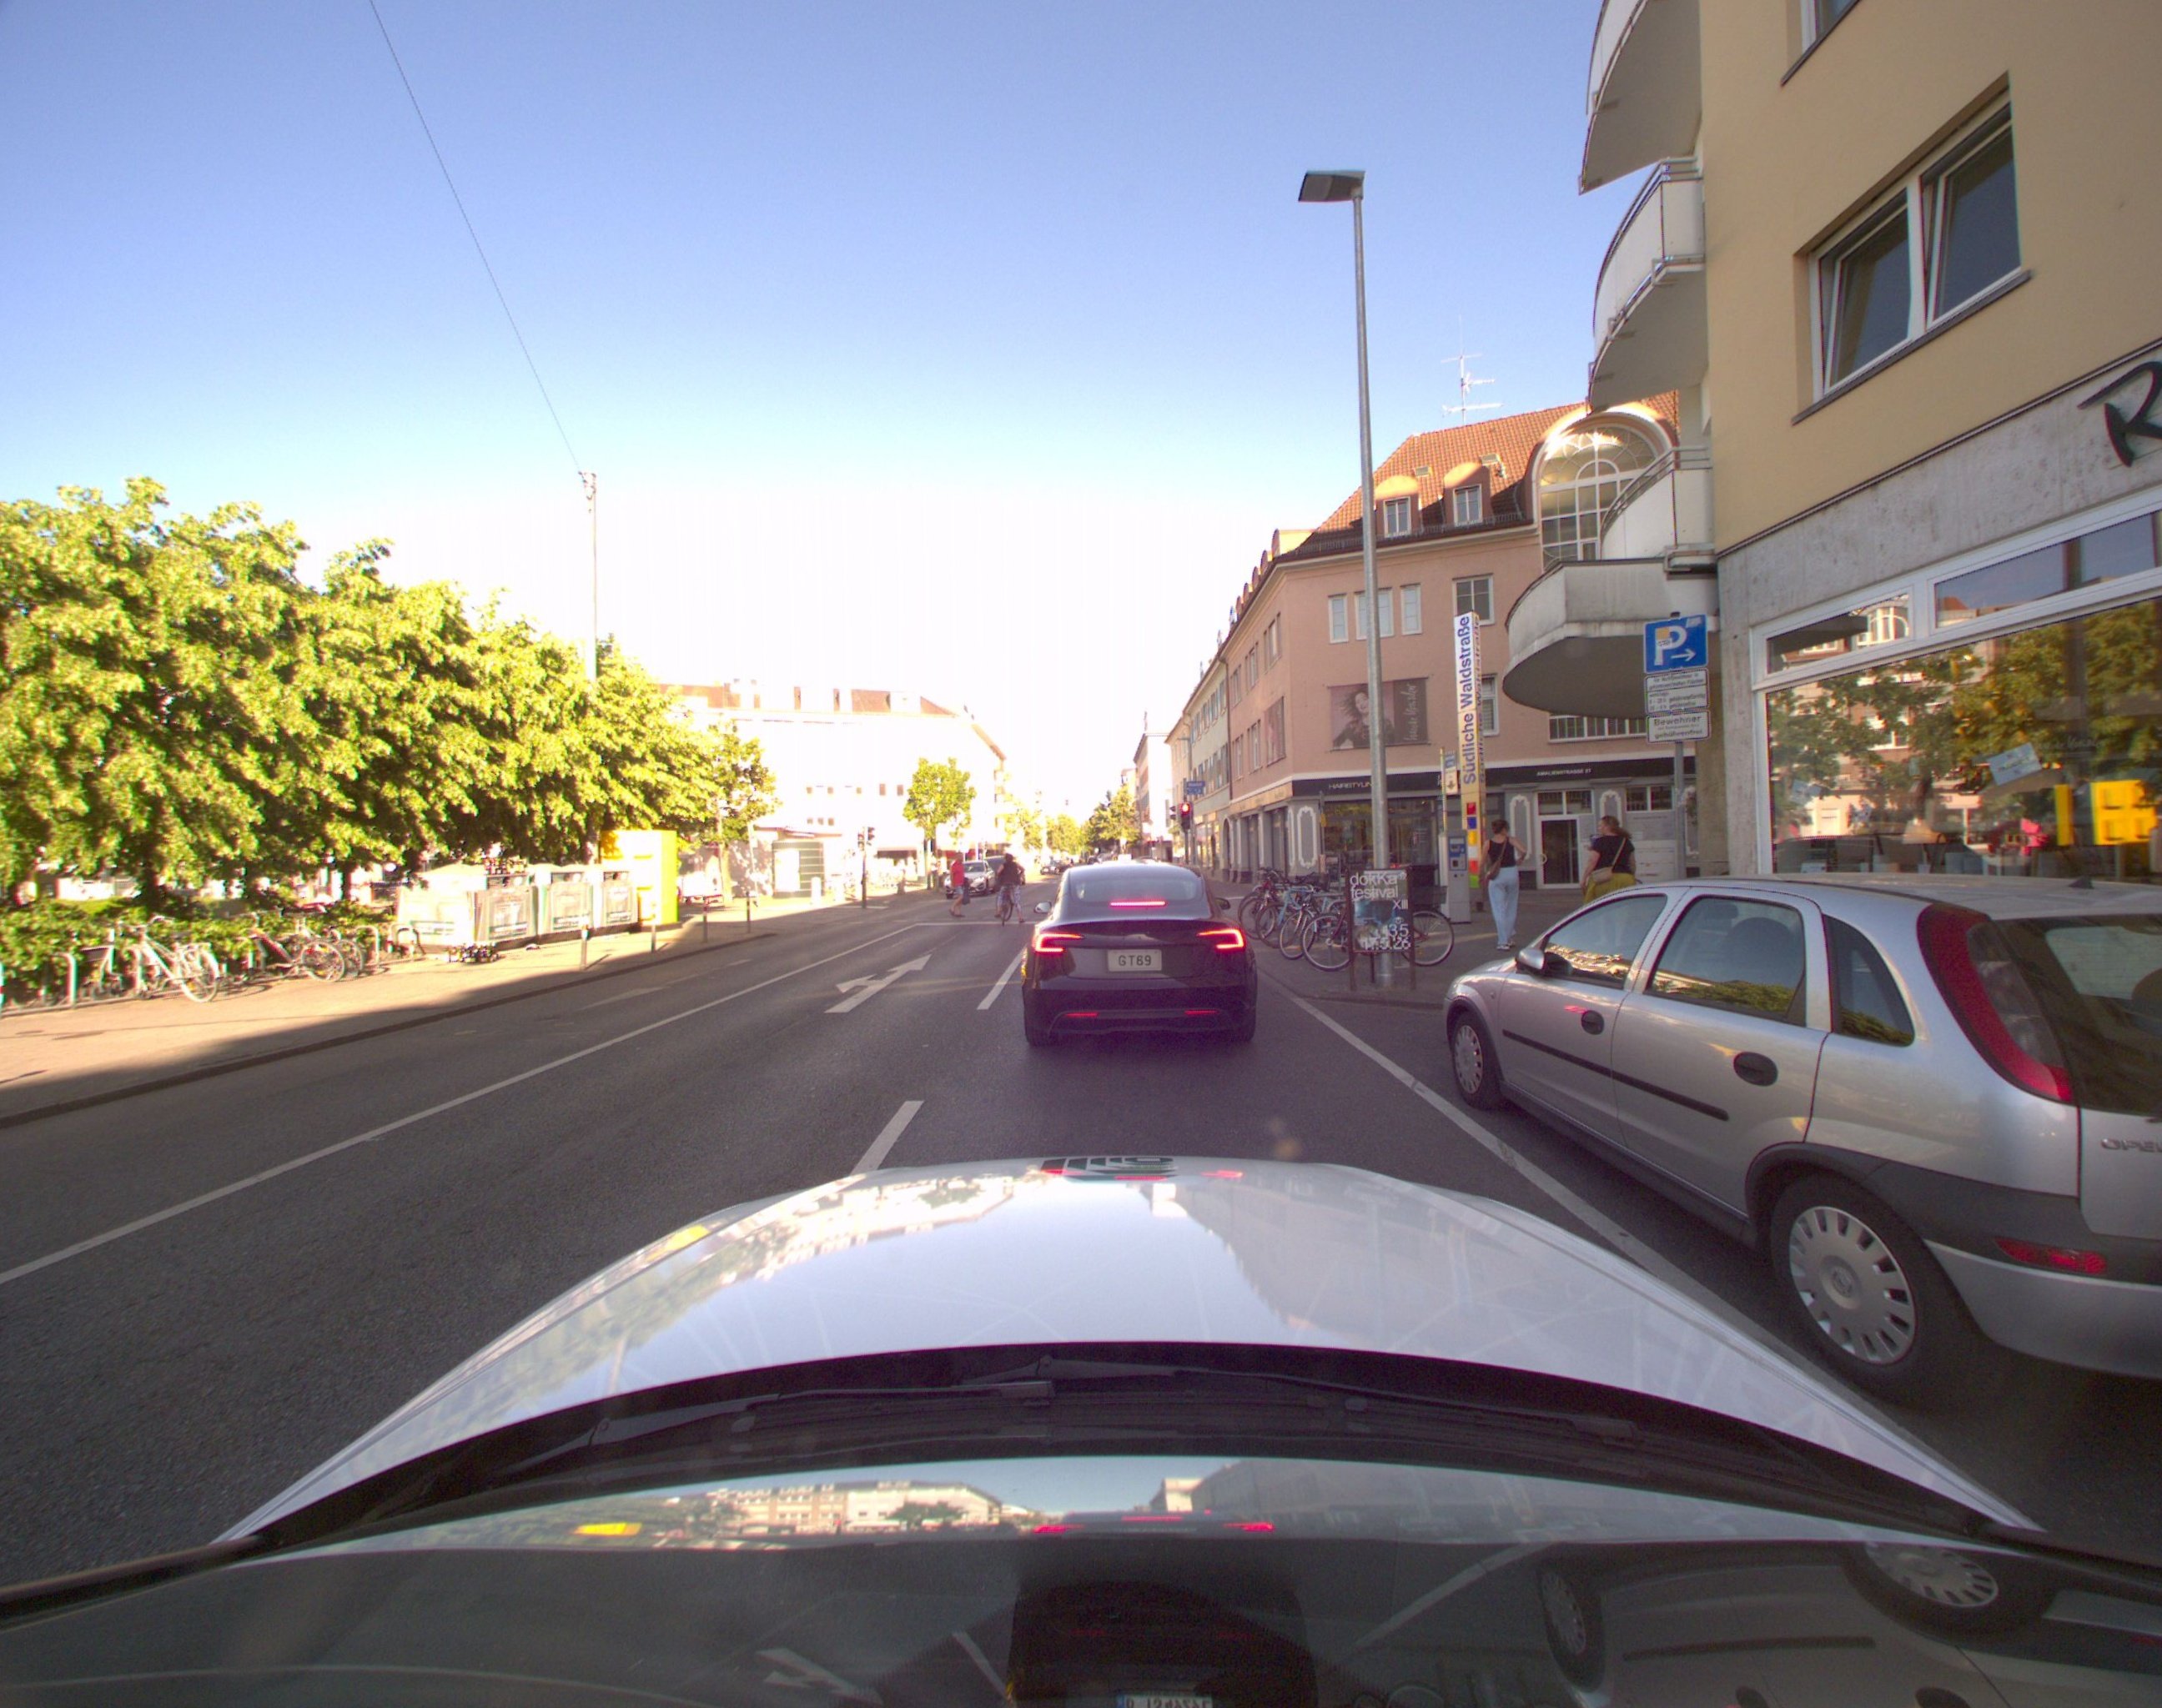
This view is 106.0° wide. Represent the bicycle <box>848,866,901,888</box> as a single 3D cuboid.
[{"bbox_3d":[-12.147,1.363,47.988,2.867,1.270,0.942,0,-1,-1],"label":"bicycle"}]

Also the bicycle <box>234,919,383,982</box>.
[{"bbox_3d":[-11.453,1.424,12.106,1.663,0.859,0.469,0,-1,-5],"label":"bicycle"}]

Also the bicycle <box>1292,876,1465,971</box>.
[{"bbox_3d":[3.644,0.845,10.087,1.875,1.044,0.653,-2,0,3],"label":"bicycle"}]

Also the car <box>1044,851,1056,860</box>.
[{"bbox_3d":[-7.156,0.289,188.737,2.266,2.014,4.720,0,-1,3],"label":"car"}]

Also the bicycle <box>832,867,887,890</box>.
[{"bbox_3d":[-12.386,1.370,45.592,2.772,1.274,0.933,0,-1,-2],"label":"bicycle"}]

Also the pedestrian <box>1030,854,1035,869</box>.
[{"bbox_3d":[-6.208,0.977,104.229,0.693,1.868,0.658,0,-1,-3],"label":"pedestrian"}]

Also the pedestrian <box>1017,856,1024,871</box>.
[{"bbox_3d":[-7.257,1.134,97.251,0.734,1.868,0.787,0,-1,-15],"label":"pedestrian"}]

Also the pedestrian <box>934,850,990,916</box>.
[{"bbox_3d":[-3.172,0.761,21.761,1.100,1.719,1.067,-1,-1,19],"label":"pedestrian"}]

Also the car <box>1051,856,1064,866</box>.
[{"bbox_3d":[-4.851,1.321,166.813,2.405,1.970,4.679,-1,0,2],"label":"car"}]

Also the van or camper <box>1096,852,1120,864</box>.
[{"bbox_3d":[5.641,0.852,167.665,4.832,2.438,1.851,-1,0,1],"label":"van or camper"}]

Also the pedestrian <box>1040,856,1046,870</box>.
[{"bbox_3d":[-5.072,1.203,107.759,0.695,1.868,0.906,0,-1,-11],"label":"pedestrian"}]

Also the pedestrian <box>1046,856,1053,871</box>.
[{"bbox_3d":[-4.024,1.163,103.779,0.773,1.868,1.006,0,-1,-7],"label":"pedestrian"}]

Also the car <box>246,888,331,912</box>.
[{"bbox_3d":[-58.043,3.325,59.713,4.144,1.530,1.537,-1,0,-28],"label":"car"}]

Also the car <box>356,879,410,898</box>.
[{"bbox_3d":[-51.041,2.517,59.612,2.762,1.266,1.233,0,-1,-28],"label":"car"}]

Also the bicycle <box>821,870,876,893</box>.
[{"bbox_3d":[-12.317,1.437,43.249,2.652,1.195,0.942,0,-1,-1],"label":"bicycle"}]

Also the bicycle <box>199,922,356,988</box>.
[{"bbox_3d":[-11.418,1.422,11.607,1.667,0.859,0.469,0,-1,-5],"label":"bicycle"}]

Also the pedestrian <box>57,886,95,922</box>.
[{"bbox_3d":[-44.222,2.169,35.838,0.928,1.520,0.924,0,-1,-43],"label":"pedestrian"}]

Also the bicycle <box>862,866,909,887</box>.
[{"bbox_3d":[-12.046,1.386,50.306,2.655,1.259,0.942,0,-1,-1],"label":"bicycle"}]

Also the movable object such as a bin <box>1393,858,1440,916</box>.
[{"bbox_3d":[6.753,0.659,16.427,0.633,1.103,0.728,-4,-1,5],"label":"movable object such as a bin"}]

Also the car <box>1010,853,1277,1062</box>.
[{"bbox_3d":[0.504,0.738,7.887,1.843,1.447,4.453,0,0,2],"label":"car"}]

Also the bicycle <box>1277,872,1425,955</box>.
[{"bbox_3d":[3.664,0.797,11.160,1.806,1.060,0.653,-1,0,3],"label":"bicycle"}]

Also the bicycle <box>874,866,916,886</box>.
[{"bbox_3d":[-11.991,1.400,52.581,2.535,1.251,0.942,0,-1,-1],"label":"bicycle"}]

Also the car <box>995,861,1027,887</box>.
[{"bbox_3d":[-4.249,1.204,50.051,1.455,1.430,3.607,-5,-1,2],"label":"car"}]

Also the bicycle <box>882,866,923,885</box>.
[{"bbox_3d":[-12.045,1.420,55.008,2.535,1.251,0.942,0,-1,-1],"label":"bicycle"}]

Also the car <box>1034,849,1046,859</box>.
[{"bbox_3d":[-9.012,-0.014,180.142,2.266,2.014,4.720,0,-1,3],"label":"car"}]

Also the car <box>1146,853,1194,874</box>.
[{"bbox_3d":[8.154,0.873,74.654,4.006,1.867,1.686,-1,0,-20],"label":"car"}]

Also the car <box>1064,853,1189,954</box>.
[{"bbox_3d":[0.750,0.749,14.311,1.843,1.482,4.453,0,0,2],"label":"car"}]

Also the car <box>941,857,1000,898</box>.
[{"bbox_3d":[-4.876,1.015,36.602,1.818,1.565,4.302,-5,-1,2],"label":"car"}]

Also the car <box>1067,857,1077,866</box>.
[{"bbox_3d":[-1.990,1.777,187.433,2.124,1.970,4.135,-1,0,2],"label":"car"}]

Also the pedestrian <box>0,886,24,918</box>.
[{"bbox_3d":[-63.903,2.838,48.304,1.308,1.842,1.089,0,-1,-43],"label":"pedestrian"}]

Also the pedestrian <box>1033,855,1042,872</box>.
[{"bbox_3d":[-5.092,1.099,94.837,0.726,1.868,0.796,-1,-1,30],"label":"pedestrian"}]

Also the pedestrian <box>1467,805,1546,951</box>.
[{"bbox_3d":[5.743,0.316,11.040,0.675,1.849,0.898,-5,-1,19],"label":"pedestrian"}]

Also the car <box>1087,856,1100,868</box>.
[{"bbox_3d":[2.056,1.252,131.451,2.027,1.788,4.008,-1,0,2],"label":"car"}]

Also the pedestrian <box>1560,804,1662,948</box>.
[{"bbox_3d":[6.846,0.283,10.565,0.718,1.754,0.789,-4,-1,6],"label":"pedestrian"}]

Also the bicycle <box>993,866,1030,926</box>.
[{"bbox_3d":[-1.626,0.938,18.827,0.628,1.223,1.993,-1,1,-11],"label":"bicycle"}]

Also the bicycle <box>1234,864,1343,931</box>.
[{"bbox_3d":[3.745,0.783,14.776,1.806,1.152,0.653,-1,0,3],"label":"bicycle"}]

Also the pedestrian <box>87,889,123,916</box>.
[{"bbox_3d":[-46.223,2.275,38.580,0.856,1.214,0.906,-1,-1,27],"label":"pedestrian"}]

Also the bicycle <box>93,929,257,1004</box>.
[{"bbox_3d":[-11.453,1.416,10.310,1.560,0.886,0.470,0,-1,1],"label":"bicycle"}]

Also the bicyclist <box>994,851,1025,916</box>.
[{"bbox_3d":[-1.676,0.678,19.028,0.606,1.484,0.954,0,-1,-11],"label":"bicyclist"}]

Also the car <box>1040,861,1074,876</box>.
[{"bbox_3d":[-2.207,1.327,76.153,1.678,1.390,3.938,-1,-1,24],"label":"car"}]

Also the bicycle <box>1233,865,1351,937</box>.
[{"bbox_3d":[3.505,0.775,13.647,1.806,1.152,0.653,-1,0,3],"label":"bicycle"}]

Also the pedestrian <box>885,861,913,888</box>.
[{"bbox_3d":[-10.771,1.208,48.249,1.083,1.611,1.273,-1,-1,21],"label":"pedestrian"}]

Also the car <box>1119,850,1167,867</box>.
[{"bbox_3d":[6.603,0.511,86.820,4.718,1.430,1.722,-5,-1,-22],"label":"car"}]

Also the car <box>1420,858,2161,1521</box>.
[{"bbox_3d":[2.969,0.738,3.551,1.578,1.426,3.581,0,-1,2],"label":"car"}]

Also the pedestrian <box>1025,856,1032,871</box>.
[{"bbox_3d":[-6.317,1.129,97.477,0.734,1.868,0.787,0,-1,-15],"label":"pedestrian"}]

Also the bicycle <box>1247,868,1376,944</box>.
[{"bbox_3d":[3.527,0.790,12.571,1.806,1.102,0.653,-1,0,3],"label":"bicycle"}]

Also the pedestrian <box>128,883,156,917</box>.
[{"bbox_3d":[-42.687,2.084,37.016,0.827,1.520,0.782,-1,-1,38],"label":"pedestrian"}]

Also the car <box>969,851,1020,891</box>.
[{"bbox_3d":[-4.488,0.834,42.925,1.938,1.947,4.822,-1,0,2],"label":"car"}]
